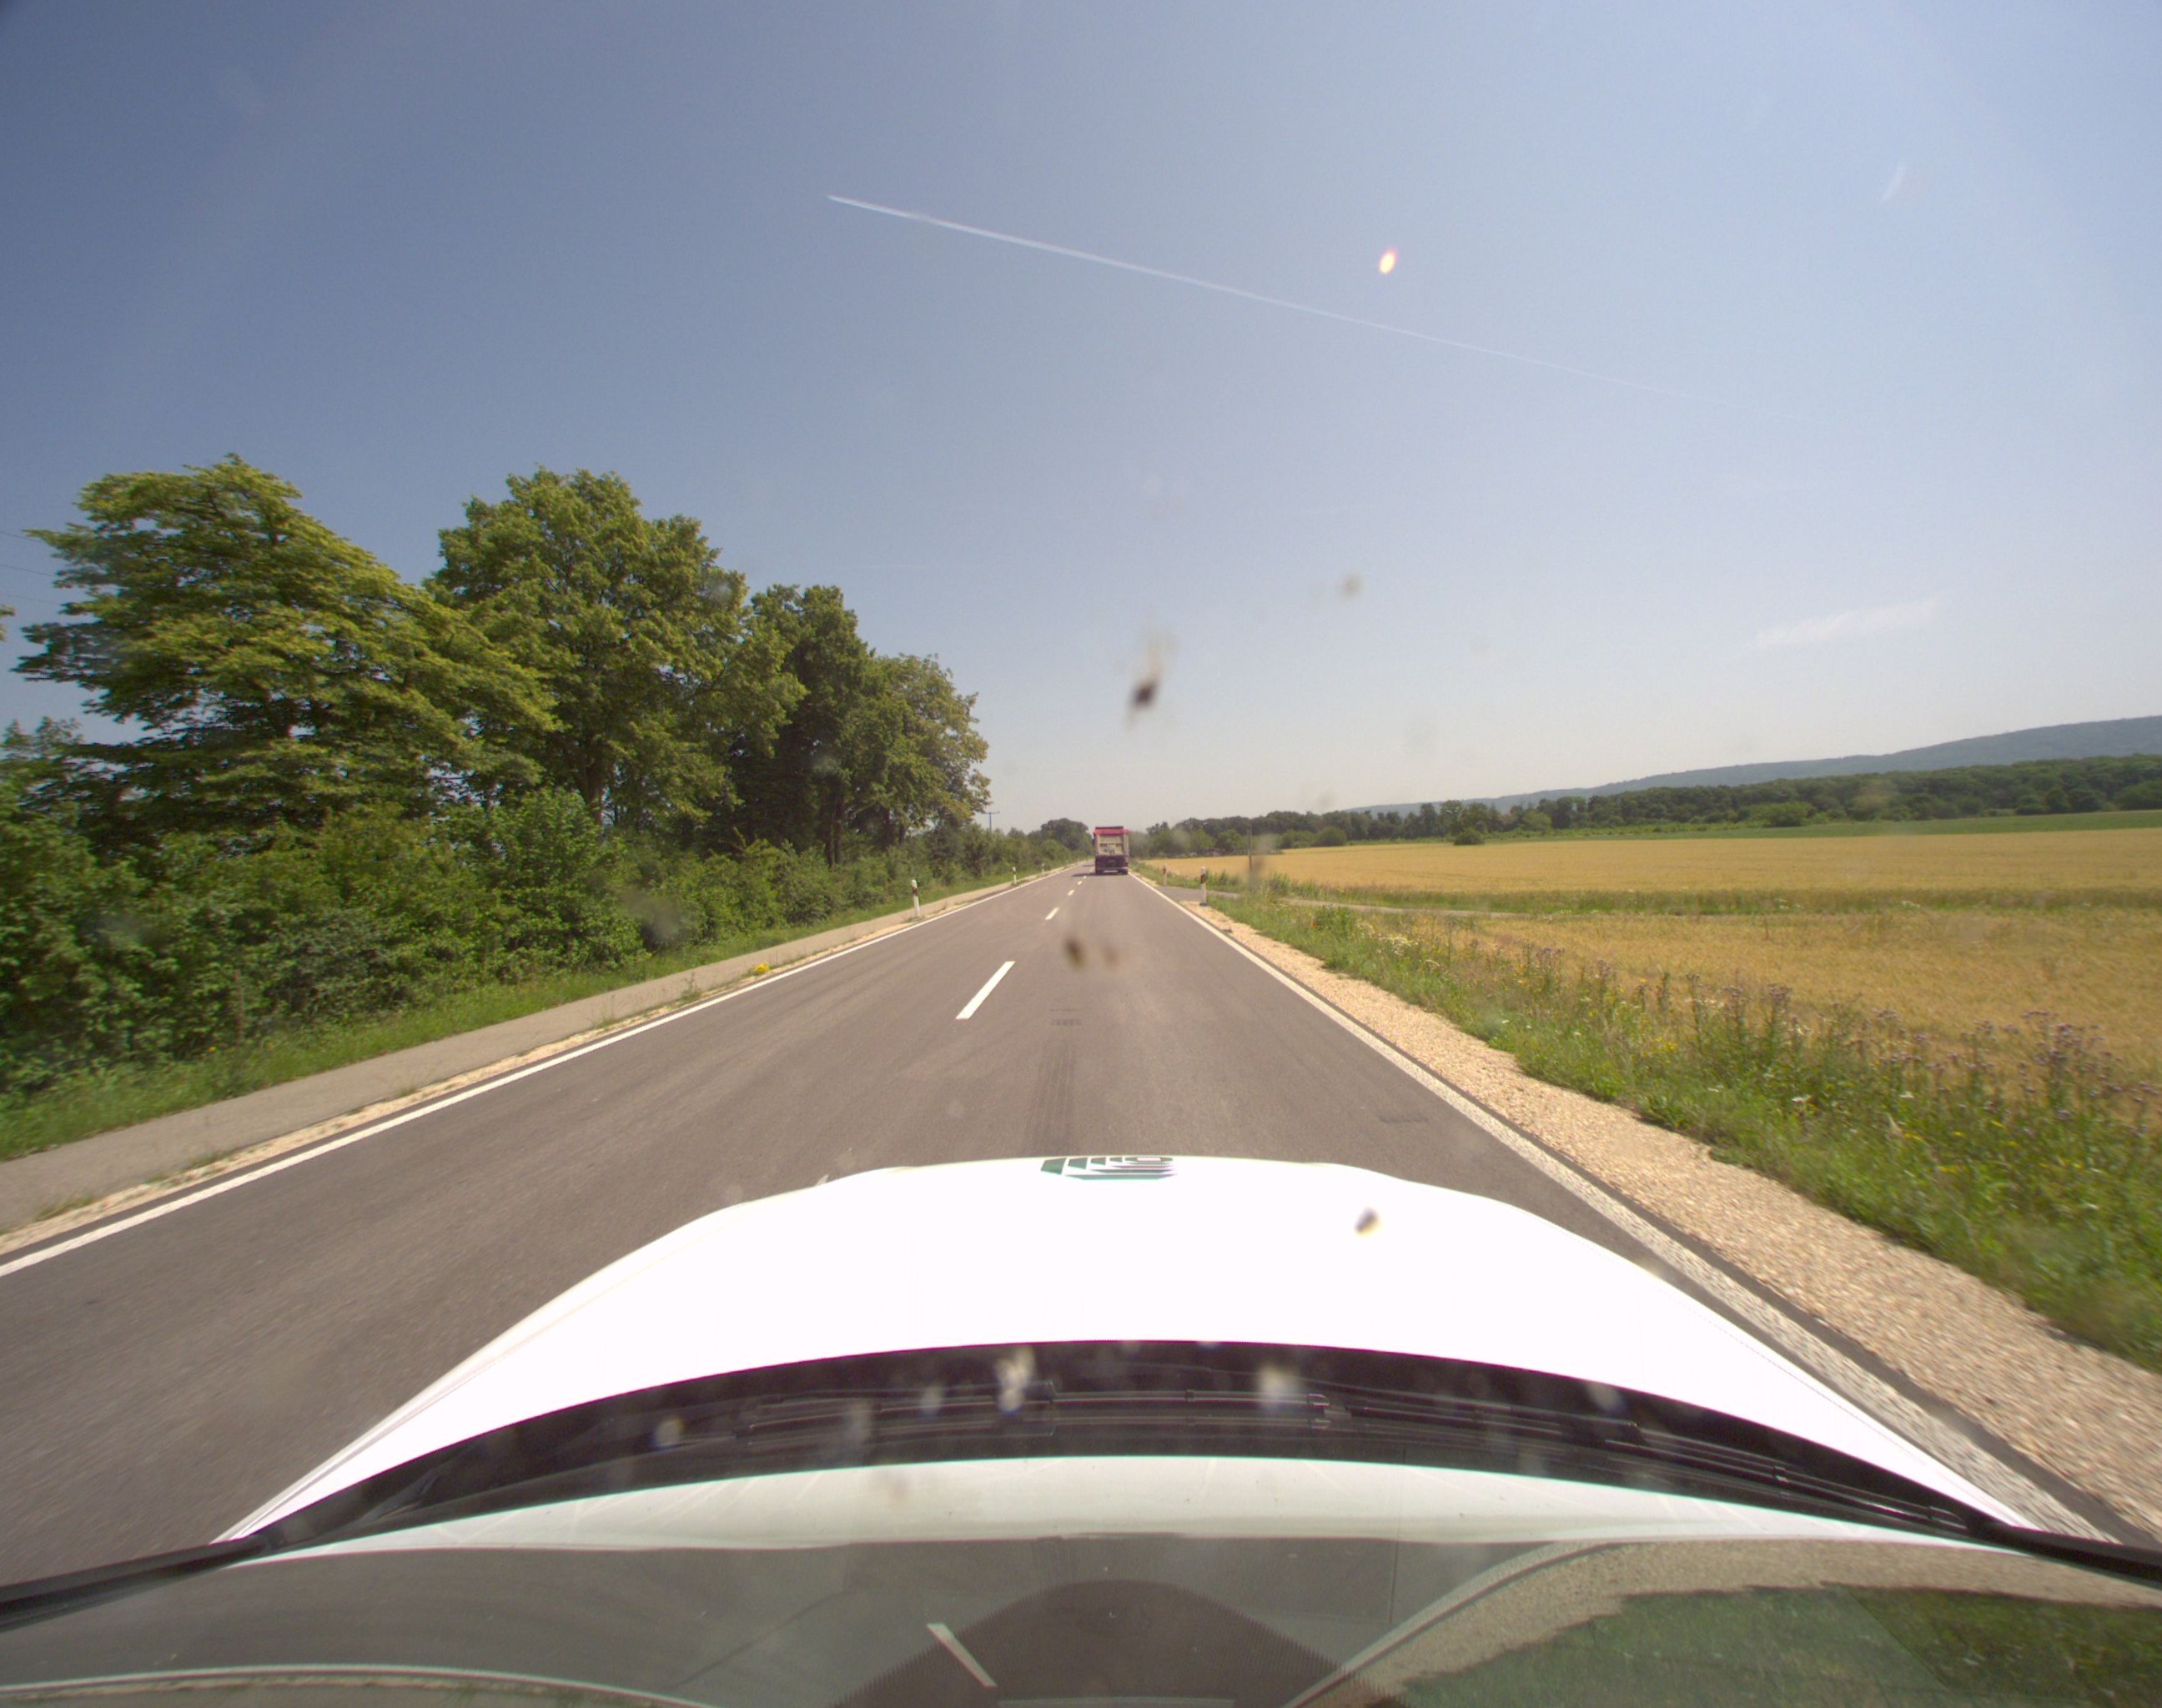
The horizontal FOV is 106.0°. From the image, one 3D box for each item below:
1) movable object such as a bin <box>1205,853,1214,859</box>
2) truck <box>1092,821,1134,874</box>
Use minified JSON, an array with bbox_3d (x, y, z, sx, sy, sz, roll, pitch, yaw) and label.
[{"bbox_3d":[33.236,0.460,211.050,1.567,1.496,3.655,-2,0,-3],"label":"movable object such as a bin"},{"bbox_3d":[2.501,-0.433,65.578,2.998,3.874,12.213,-1,-1,2],"label":"truck"}]
